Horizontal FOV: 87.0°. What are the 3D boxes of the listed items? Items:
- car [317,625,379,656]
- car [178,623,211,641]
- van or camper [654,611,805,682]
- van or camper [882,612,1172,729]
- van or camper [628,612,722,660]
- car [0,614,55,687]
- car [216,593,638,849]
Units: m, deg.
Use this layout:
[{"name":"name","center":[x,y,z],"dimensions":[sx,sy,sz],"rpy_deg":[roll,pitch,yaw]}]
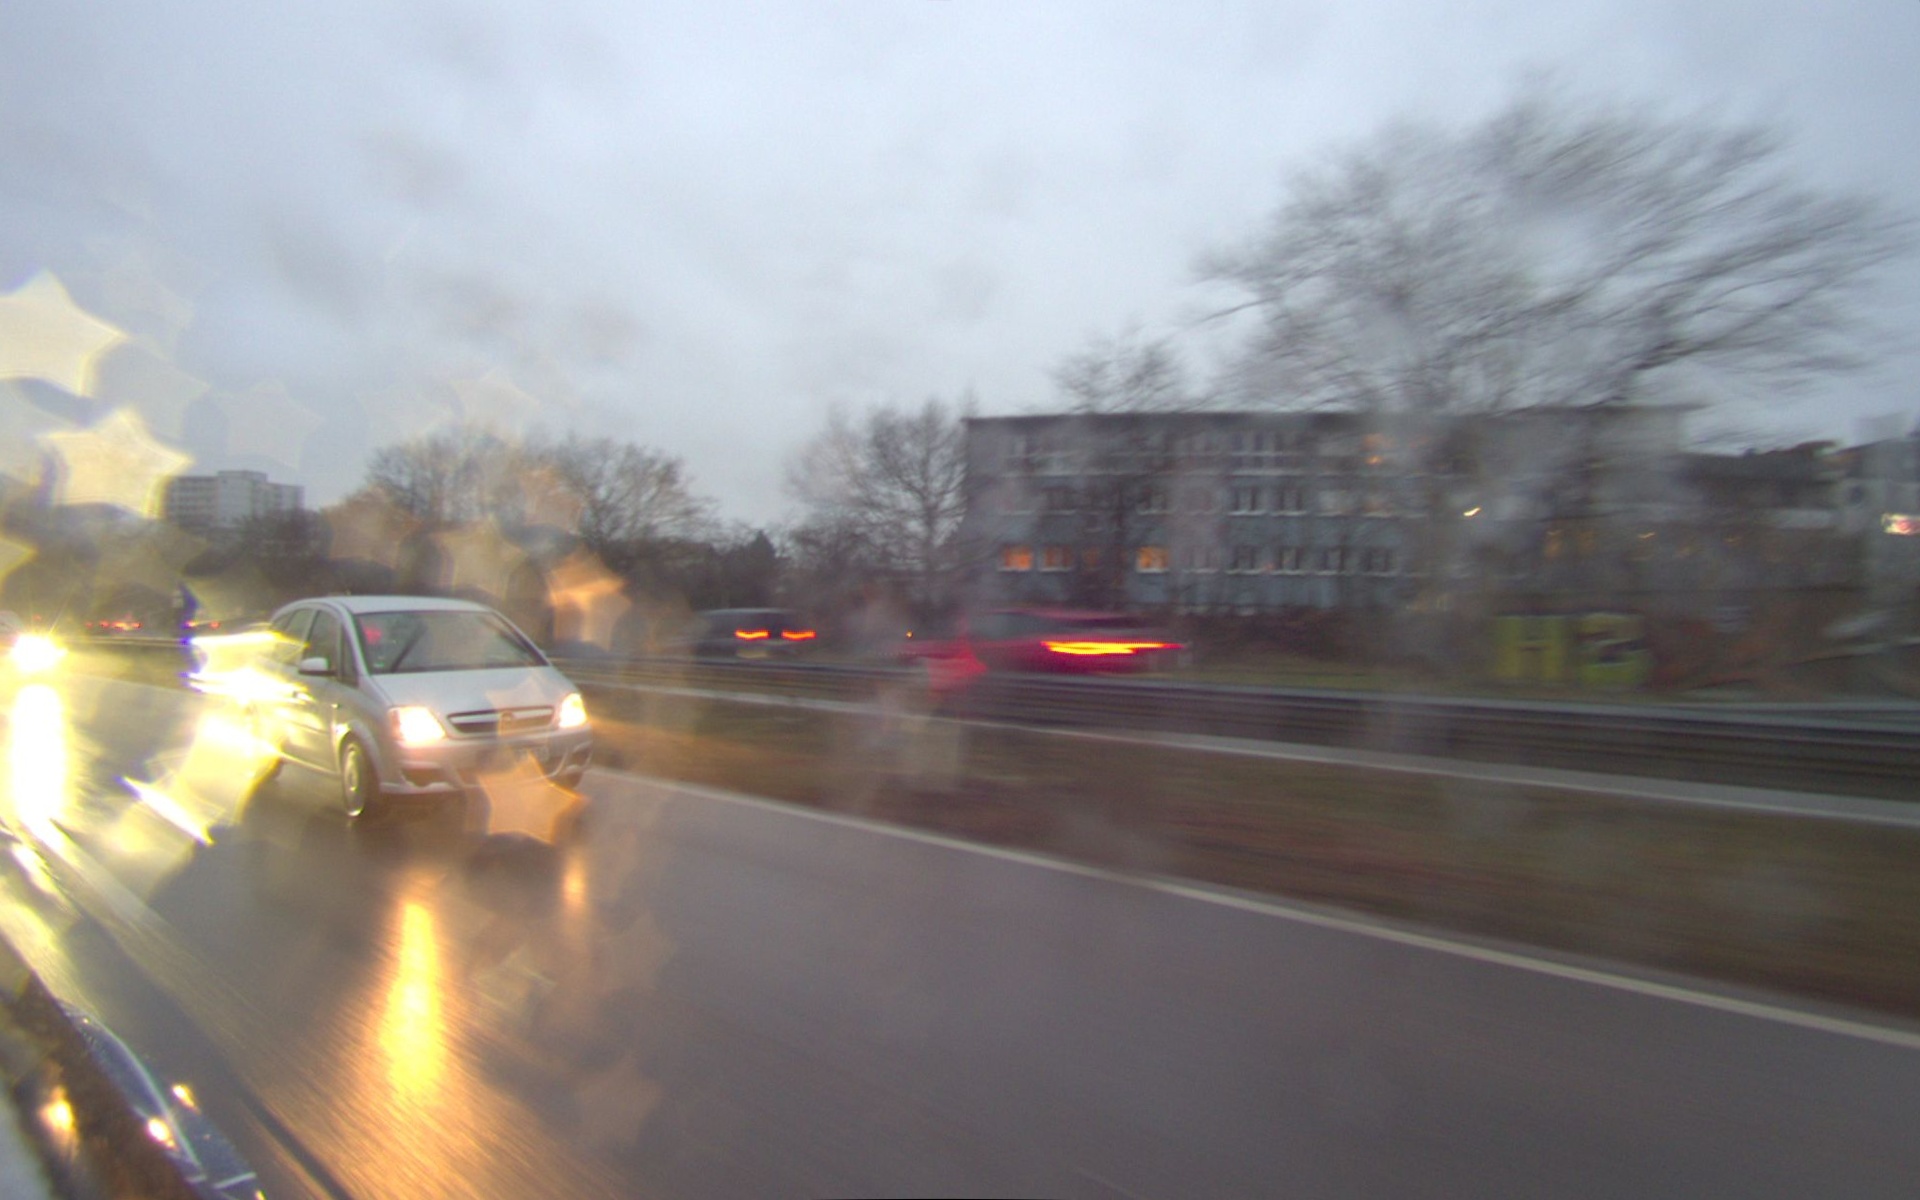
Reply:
[{"name":"car","center":[-32.716,2.148,54.083],"dimensions":[4.052,1.545,1.764],"rpy_deg":[0,-1,42]},{"name":"car","center":[-73.024,2.996,96.496],"dimensions":[4.683,1.621,1.764],"rpy_deg":[0,-1,44]},{"name":"van or camper","center":[-6.386,1.200,27.617],"dimensions":[1.741,1.749,4.887],"rpy_deg":[1,-1,-44]},{"name":"van or camper","center":[0.845,0.935,15.035],"dimensions":[1.509,1.493,4.437],"rpy_deg":[1,-1,-44]},{"name":"van or camper","center":[-11.410,1.395,40.347],"dimensions":[4.208,1.797,1.631],"rpy_deg":[0,-1,42]},{"name":"car","center":[-22.199,1.106,22.863],"dimensions":[4.142,1.542,2.001],"rpy_deg":[0,-1,39]},{"name":"car","center":[-4.590,0.784,8.433],"dimensions":[4.163,1.611,1.743],"rpy_deg":[0,-1,41]}]
